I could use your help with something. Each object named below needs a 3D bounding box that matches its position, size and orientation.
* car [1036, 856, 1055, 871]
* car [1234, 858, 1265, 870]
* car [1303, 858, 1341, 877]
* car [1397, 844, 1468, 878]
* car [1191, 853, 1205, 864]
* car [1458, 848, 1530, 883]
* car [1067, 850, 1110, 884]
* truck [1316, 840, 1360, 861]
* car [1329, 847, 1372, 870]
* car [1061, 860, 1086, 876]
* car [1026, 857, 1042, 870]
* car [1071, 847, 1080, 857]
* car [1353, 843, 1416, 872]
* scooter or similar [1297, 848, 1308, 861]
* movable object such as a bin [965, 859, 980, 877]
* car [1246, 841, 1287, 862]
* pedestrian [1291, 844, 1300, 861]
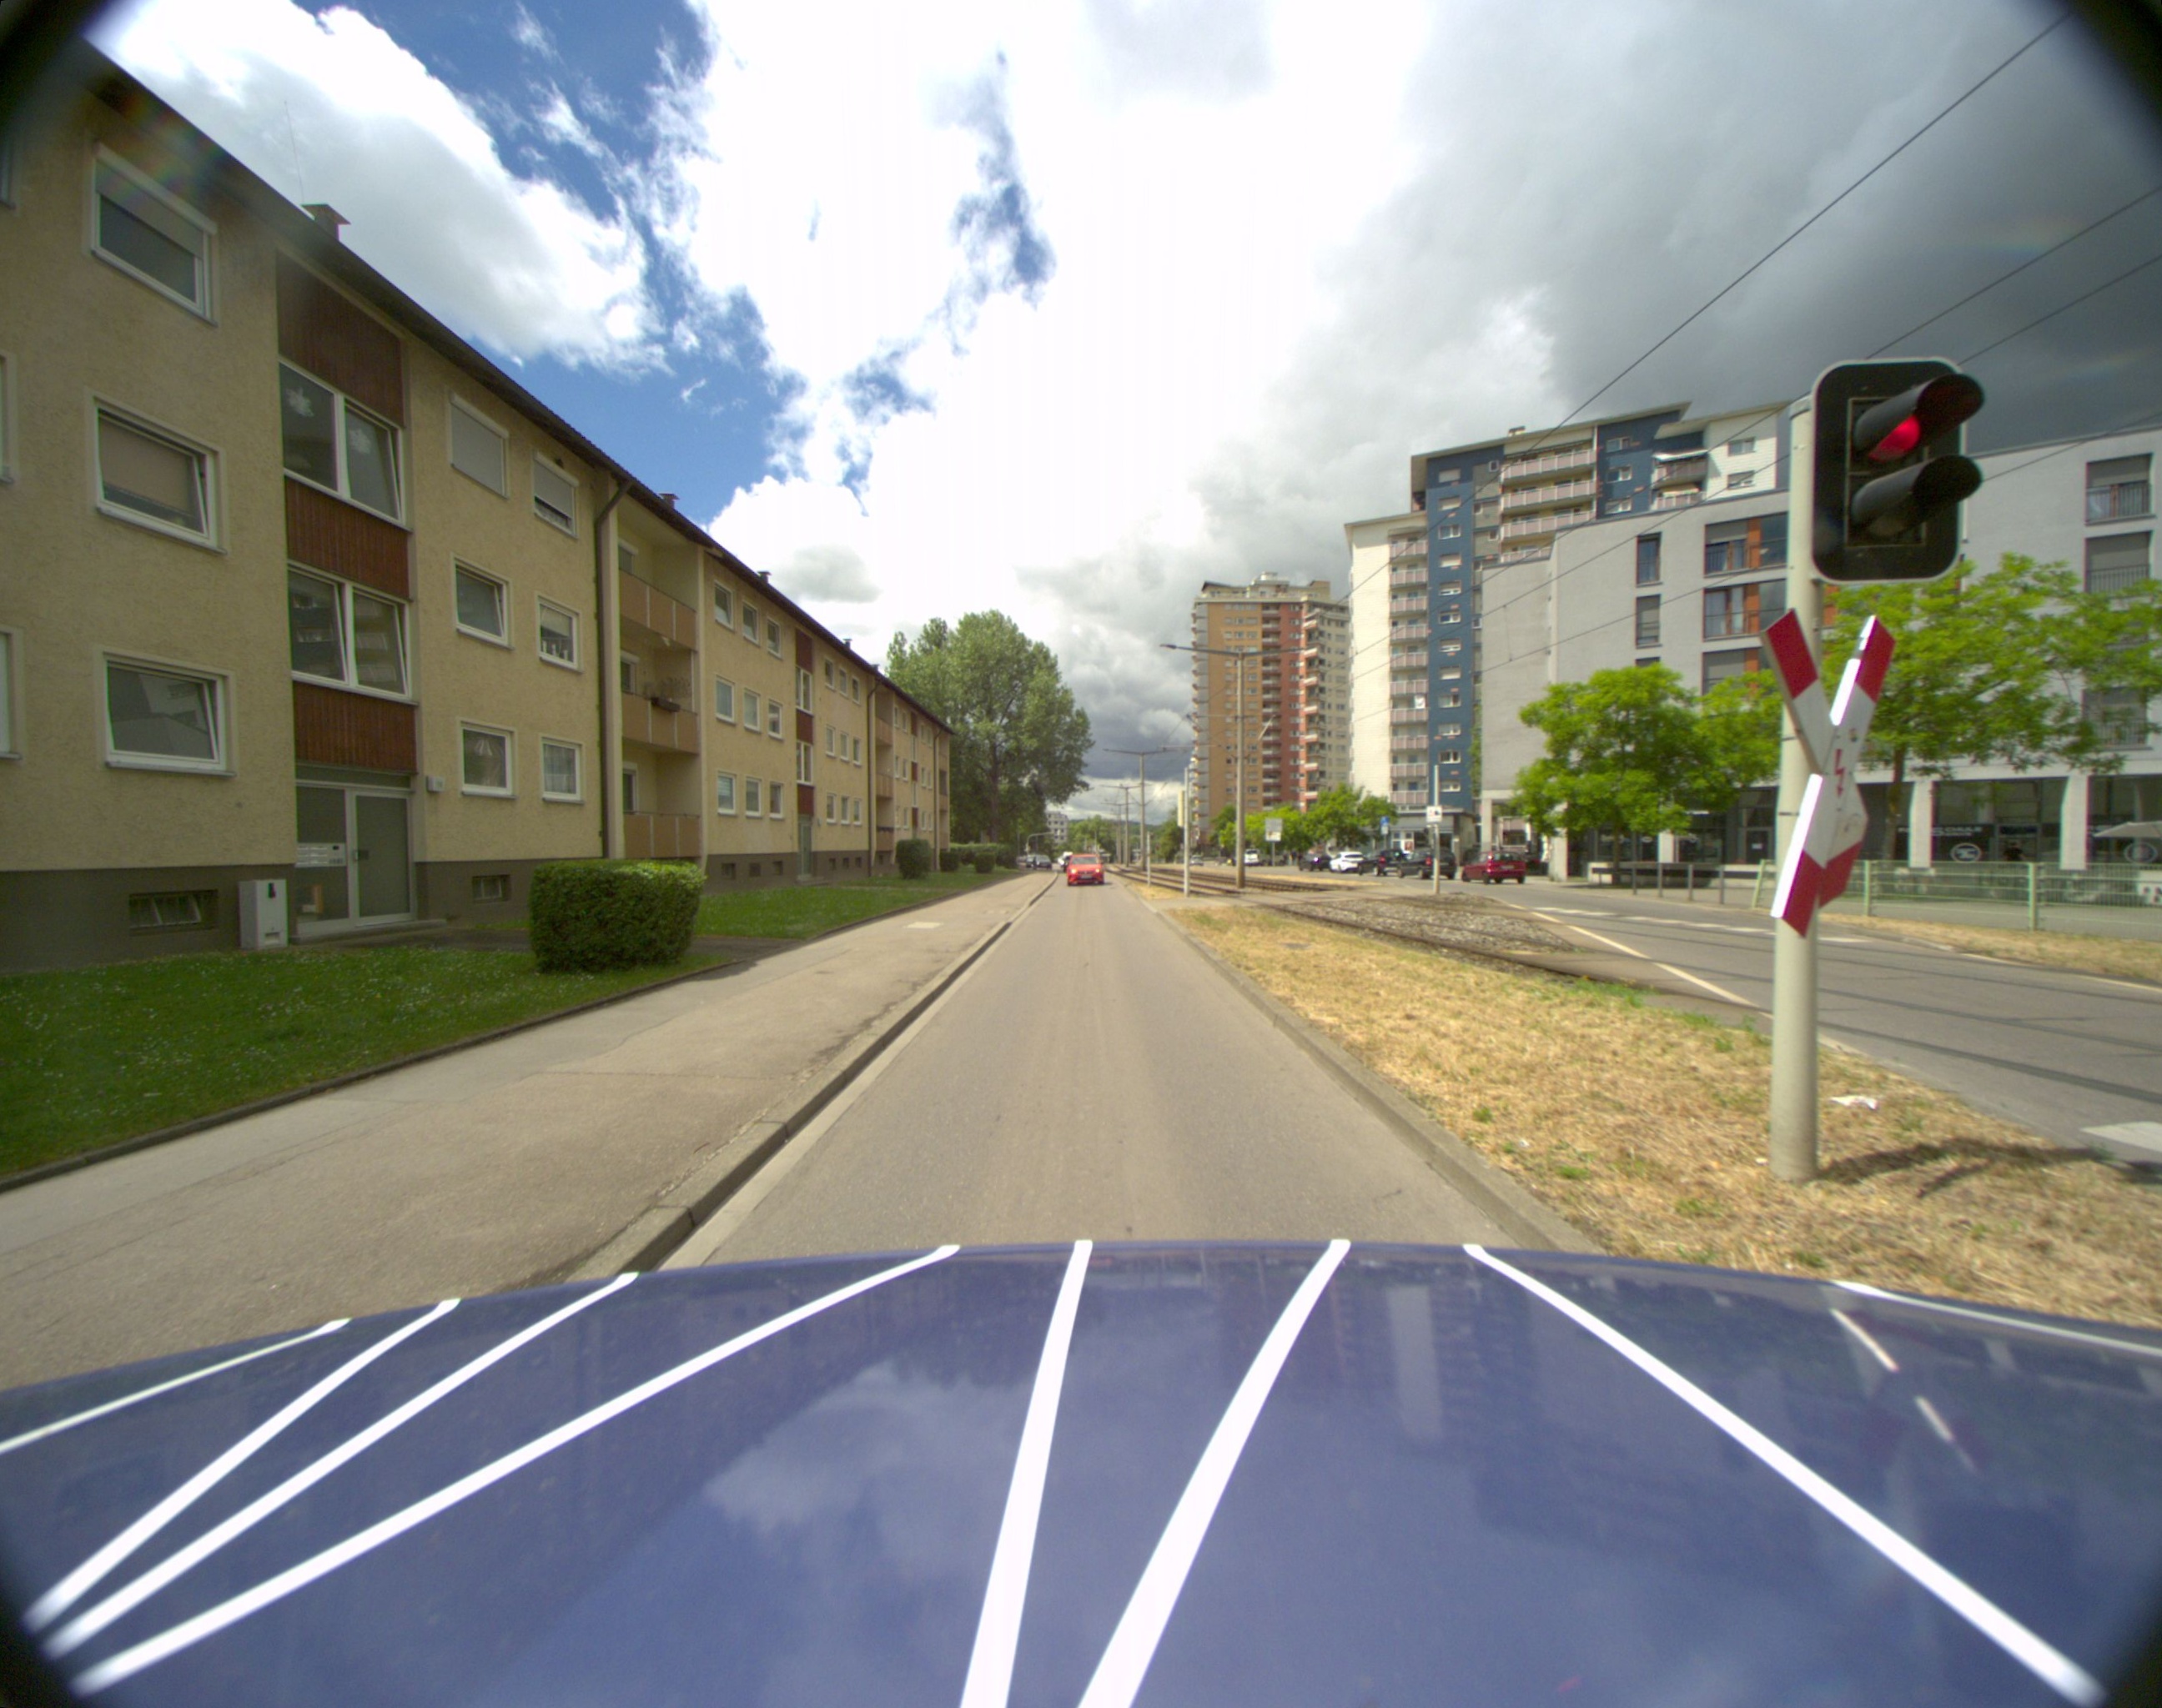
[{"bbox_3d":[-3.565,0.991,76.480,1.820,1.440,3.825,1,-1,-4],"label":"car"},{"bbox_3d":[21.028,1.275,94.680,3.775,1.487,1.742,2,-1,-39],"label":"car"},{"bbox_3d":[18.755,1.054,59.341,1.738,1.419,4.382,1,-1,3],"label":"car"},{"bbox_3d":[18.274,0.384,39.728,1.998,1.638,4.101,1,-1,3],"label":"car"},{"bbox_3d":[17.101,0.715,111.307,1.822,1.523,3.756,1,-1,4],"label":"car"},{"bbox_3d":[17.982,0.520,33.243,1.616,1.418,3.425,1,-1,7],"label":"car"},{"bbox_3d":[0.295,0.611,36.344,1.819,1.483,3.999,-3,0,-2],"label":"car"},{"bbox_3d":[45.849,-0.625,135.813,7.090,3.652,2.549,1,-1,7],"label":"truck"},{"bbox_3d":[18.422,0.359,52.152,1.758,1.466,4.403,1,-1,5],"label":"car"},{"bbox_3d":[-0.588,1.167,62.481,1.999,1.280,4.001,1,-1,0],"label":"car"},{"bbox_3d":[-5.603,1.167,90.923,1.789,1.555,4.568,1,-1,-5],"label":"car"},{"bbox_3d":[-1.249,-0.393,169.413,1.998,2.001,4.001,1,-1,0],"label":"car"},{"bbox_3d":[18.211,0.244,45.736,1.999,1.652,4.100,-1,-1,-2],"label":"car"},{"bbox_3d":[20.376,0.048,69.851,0.582,1.117,0.767,5,-6,-40],"label":"scooter or similar"},{"bbox_3d":[-8.539,1.115,60.013,1.101,1.430,0.761,1,-1,-2],"label":"movable object such as a bin"},{"bbox_3d":[20.341,-0.216,83.222,4.772,2.143,1.901,2,-1,-41],"label":"car"},{"bbox_3d":[21.596,-0.147,76.503,0.842,1.782,0.875,1,-1,15],"label":"pedestrian"}]
